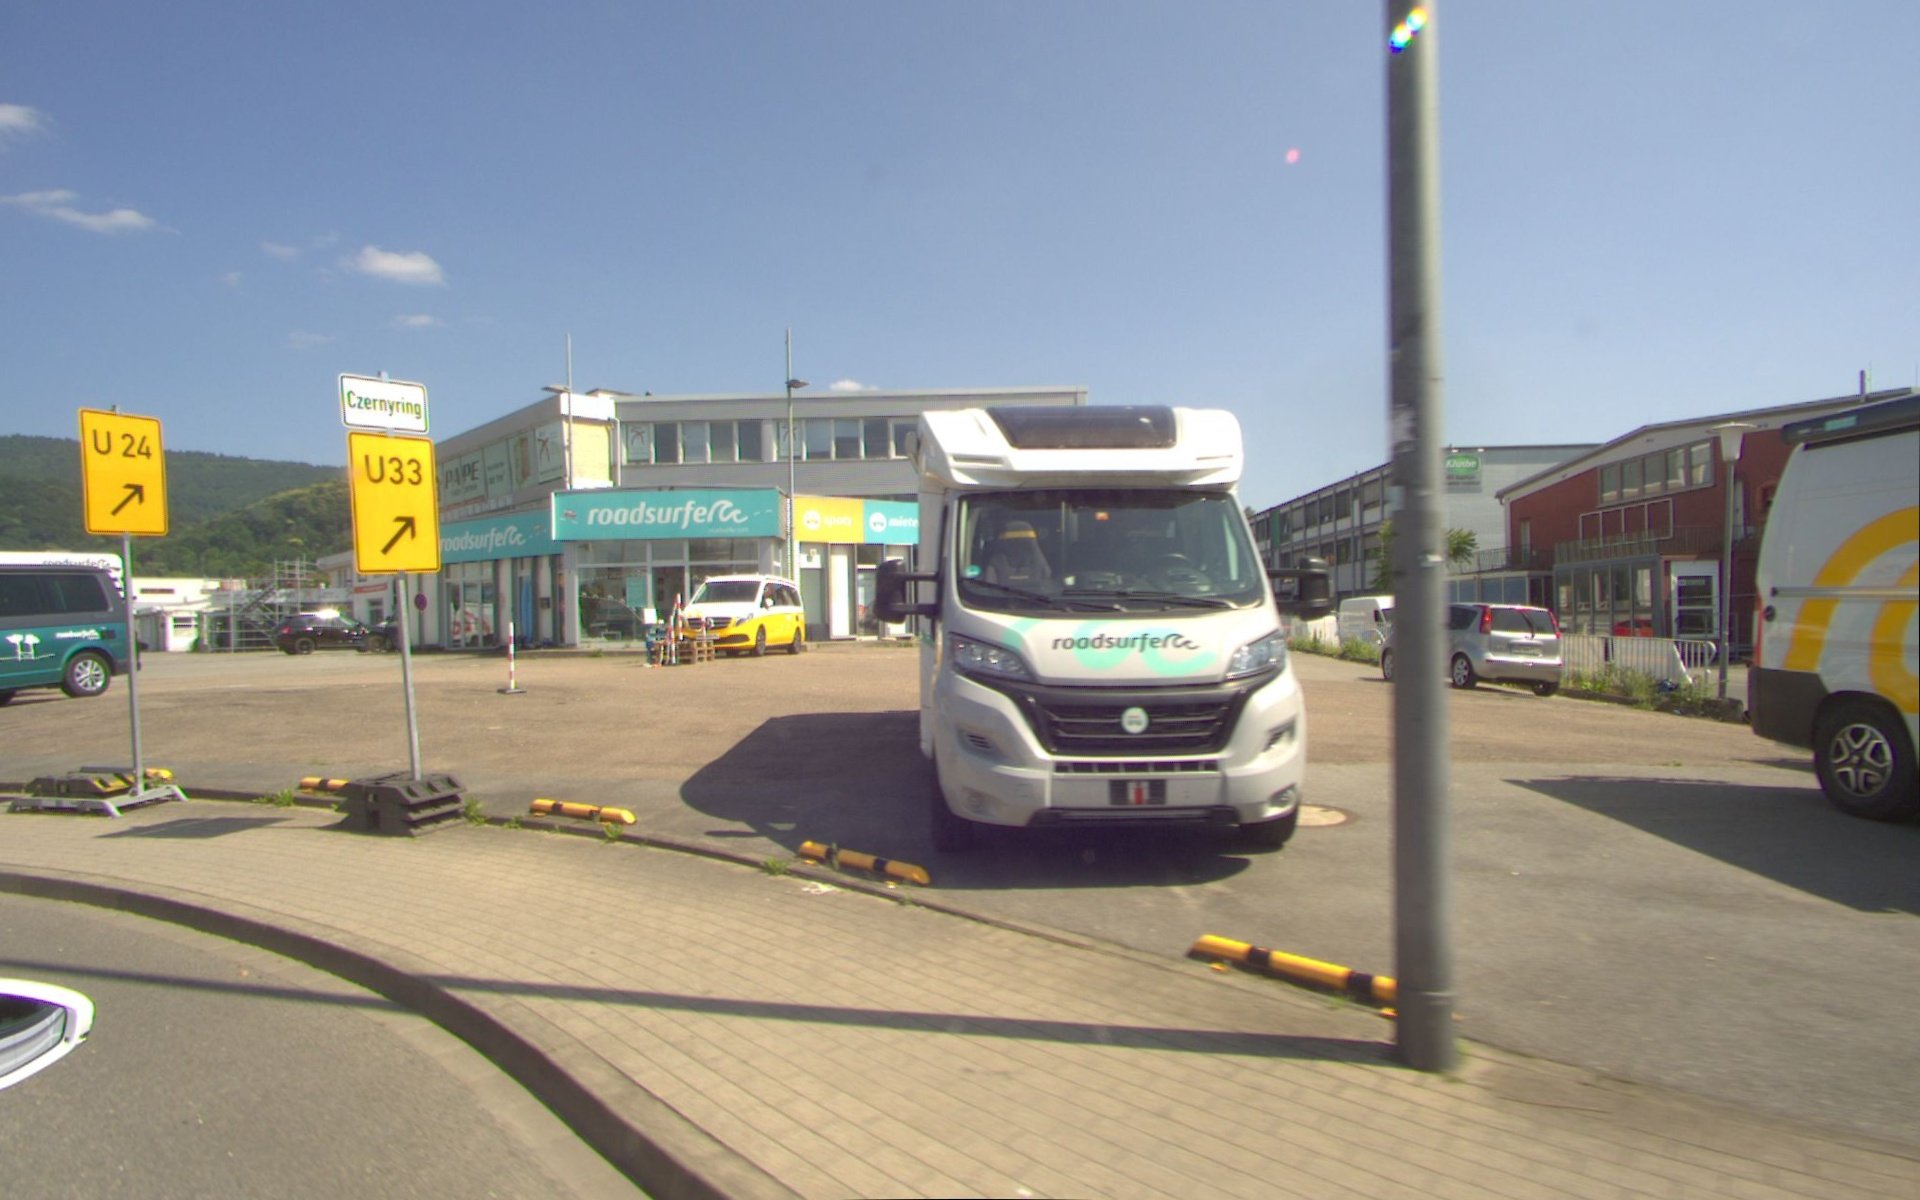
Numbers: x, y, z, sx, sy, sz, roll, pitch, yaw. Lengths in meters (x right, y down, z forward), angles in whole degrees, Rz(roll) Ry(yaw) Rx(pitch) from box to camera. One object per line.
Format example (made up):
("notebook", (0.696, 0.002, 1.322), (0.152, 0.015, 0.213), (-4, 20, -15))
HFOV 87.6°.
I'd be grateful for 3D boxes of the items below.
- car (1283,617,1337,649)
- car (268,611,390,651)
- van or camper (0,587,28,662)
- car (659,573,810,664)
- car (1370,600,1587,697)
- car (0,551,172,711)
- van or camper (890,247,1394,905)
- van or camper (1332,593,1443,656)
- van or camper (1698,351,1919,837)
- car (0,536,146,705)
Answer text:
("car", (14.318, 1.328, 41.081), (1.201, 1.265, 2.939), (0, -1, 0))
("car", (-26.053, 1.244, 41.416), (1.871, 1.538, 3.964), (-1, -1, 44))
("van or camper", (-36.332, 0.855, 34.227), (2.944, 2.594, 6.465), (-1, -1, 45))
("car", (-5.235, 0.434, 24.095), (2.057, 1.901, 5.102), (-1, -1, 5))
("car", (9.414, 0.848, 18.570), (1.781, 1.535, 3.896), (2, -1, -4))
("car", (-13.878, 0.423, 13.507), (2.056, 2.141, 5.227), (0, -1, 6))
("van or camper", (0.826, -0.122, 8.143), (2.289, 2.985, 7.083), (-1, 0, 0))
("van or camper", (19.772, 1.146, 46.732), (2.300, 2.714, 6.745), (0, -1, 0))
("van or camper", (6.540, -0.043, 4.656), (2.050, 2.810, 5.830), (1, -1, 2))
("car", (-16.859, 0.341, 15.960), (2.262, 2.752, 6.156), (0, -1, 7))
